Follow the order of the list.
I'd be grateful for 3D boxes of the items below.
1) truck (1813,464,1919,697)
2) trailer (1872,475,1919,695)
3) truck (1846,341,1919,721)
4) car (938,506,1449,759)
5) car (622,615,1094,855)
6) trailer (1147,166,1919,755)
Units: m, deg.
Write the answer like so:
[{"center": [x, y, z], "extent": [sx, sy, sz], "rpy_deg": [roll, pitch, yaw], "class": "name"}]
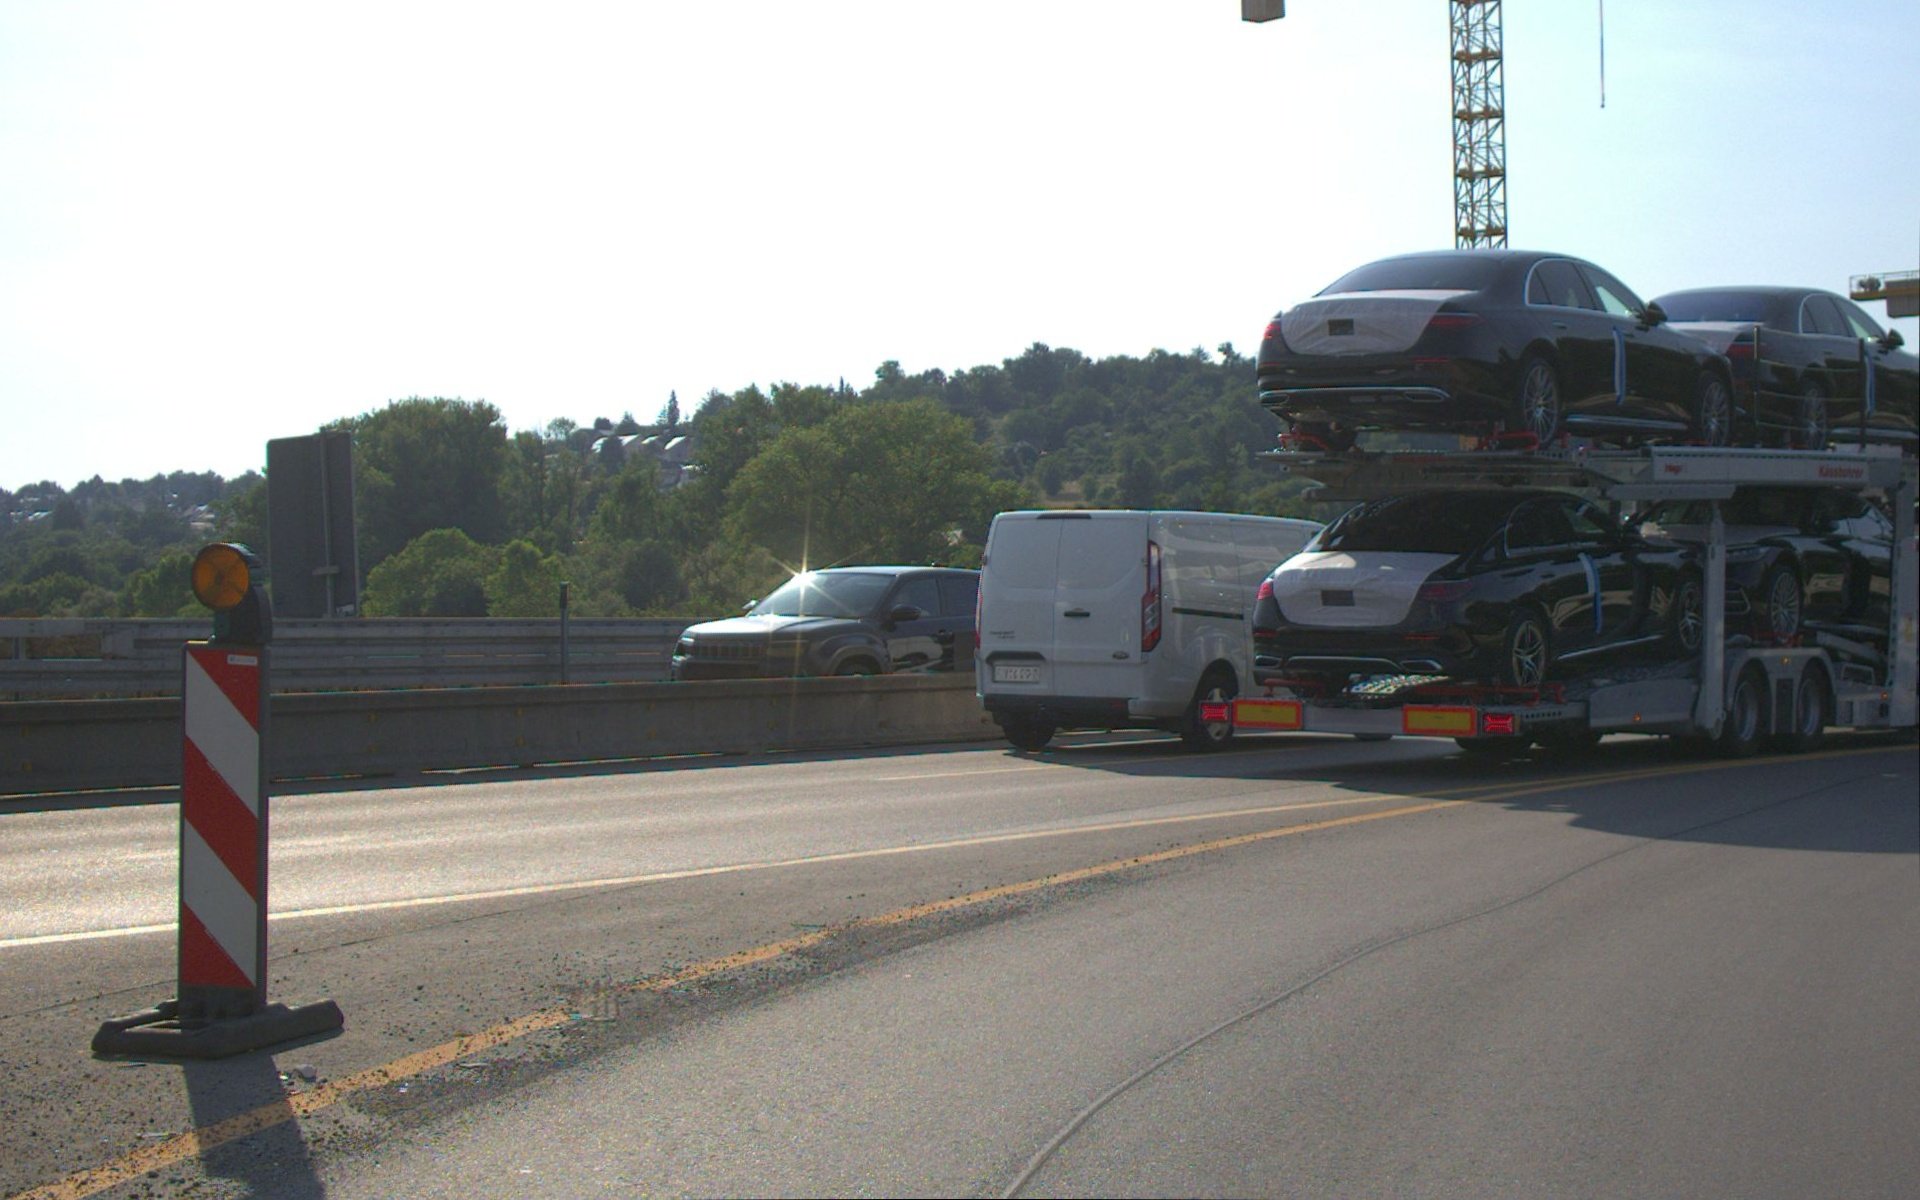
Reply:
[{"center": [18.093, -0.298, 62.970], "extent": [2.632, 4.053, 6.117], "rpy_deg": [-2, -2, 36], "class": "truck"}, {"center": [22.120, -0.194, 68.699], "extent": [2.632, 4.053, 14.050], "rpy_deg": [-2, -2, 36], "class": "trailer"}, {"center": [12.452, -0.678, 38.316], "extent": [2.854, 3.983, 6.611], "rpy_deg": [-1, -1, 35], "class": "truck"}, {"center": [2.113, 0.259, 29.579], "extent": [2.033, 1.974, 4.969], "rpy_deg": [2, 0, 36], "class": "car"}, {"center": [-0.842, 1.154, 31.277], "extent": [1.893, 1.974, 4.525], "rpy_deg": [2, 0, 36], "class": "car"}, {"center": [7.007, -0.813, 30.492], "extent": [2.863, 3.983, 15.713], "rpy_deg": [-1, -1, 35], "class": "trailer"}]
